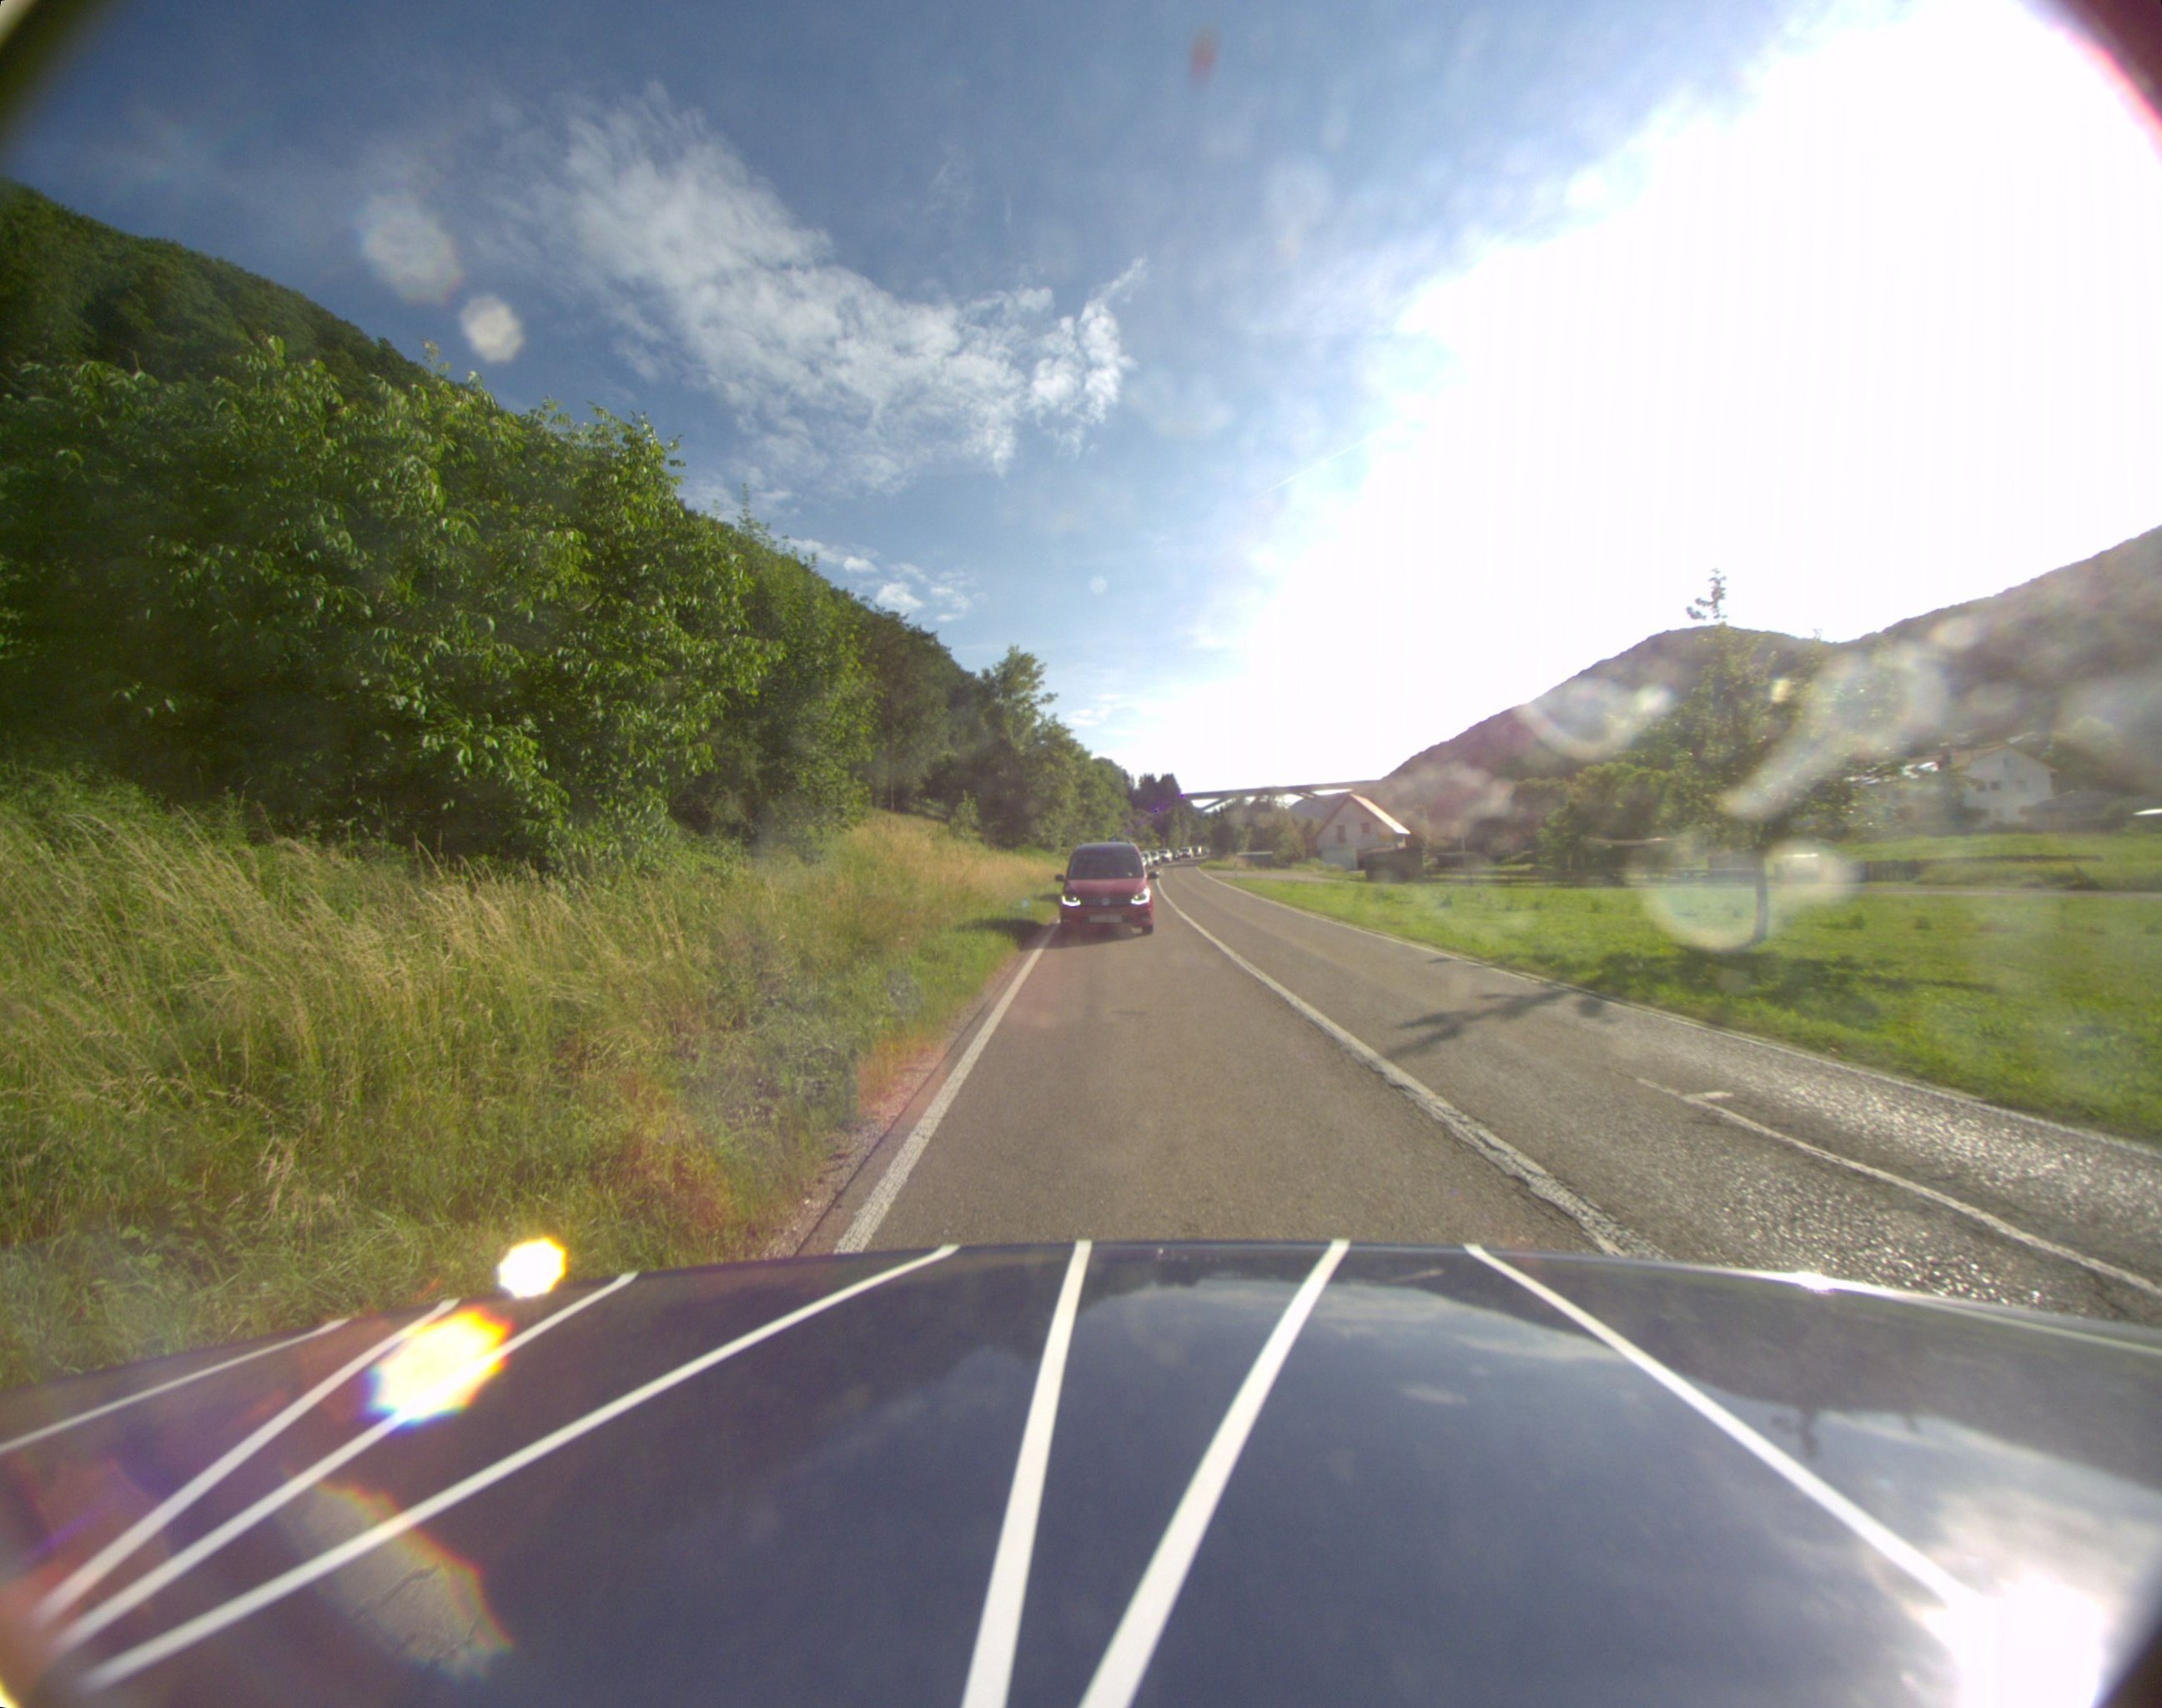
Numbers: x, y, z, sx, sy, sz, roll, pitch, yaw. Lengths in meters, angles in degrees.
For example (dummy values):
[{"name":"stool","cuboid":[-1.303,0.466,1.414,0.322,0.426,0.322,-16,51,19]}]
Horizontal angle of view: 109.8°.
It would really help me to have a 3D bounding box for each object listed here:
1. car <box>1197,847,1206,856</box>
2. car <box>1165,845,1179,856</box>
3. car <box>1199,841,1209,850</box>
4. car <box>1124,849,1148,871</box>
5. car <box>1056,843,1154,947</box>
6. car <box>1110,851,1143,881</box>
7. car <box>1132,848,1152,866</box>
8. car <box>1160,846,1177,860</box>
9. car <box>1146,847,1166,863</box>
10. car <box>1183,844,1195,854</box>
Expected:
[{"name":"car","cuboid":[23.267,-0.493,147.185,1.629,1.470,3.681,-2,1,9]},{"name":"car","cuboid":[12.386,-0.501,103.399,1.629,1.470,3.681,-2,1,9]},{"name":"car","cuboid":[21.811,-1.549,134.805,1.629,1.470,3.681,-2,1,9]},{"name":"car","cuboid":[4.091,0.413,56.088,1.629,1.470,3.680,-2,1,6]},{"name":"car","cuboid":[0.493,0.697,15.280,1.649,1.762,4.000,-2,1,2]},{"name":"car","cuboid":[2.538,0.625,41.632,1.629,1.470,3.680,-2,1,6]},{"name":"car","cuboid":[5.354,0.223,66.199,1.629,1.470,3.680,-2,1,6]},{"name":"car","cuboid":[10.169,-0.122,88.851,1.630,1.470,3.679,-2,1,2]},{"name":"car","cuboid":[7.354,0.086,74.705,1.630,1.470,3.679,-2,1,2]},{"name":"car","cuboid":[17.001,-0.808,119.325,1.629,1.470,3.680,-2,1,5]}]
